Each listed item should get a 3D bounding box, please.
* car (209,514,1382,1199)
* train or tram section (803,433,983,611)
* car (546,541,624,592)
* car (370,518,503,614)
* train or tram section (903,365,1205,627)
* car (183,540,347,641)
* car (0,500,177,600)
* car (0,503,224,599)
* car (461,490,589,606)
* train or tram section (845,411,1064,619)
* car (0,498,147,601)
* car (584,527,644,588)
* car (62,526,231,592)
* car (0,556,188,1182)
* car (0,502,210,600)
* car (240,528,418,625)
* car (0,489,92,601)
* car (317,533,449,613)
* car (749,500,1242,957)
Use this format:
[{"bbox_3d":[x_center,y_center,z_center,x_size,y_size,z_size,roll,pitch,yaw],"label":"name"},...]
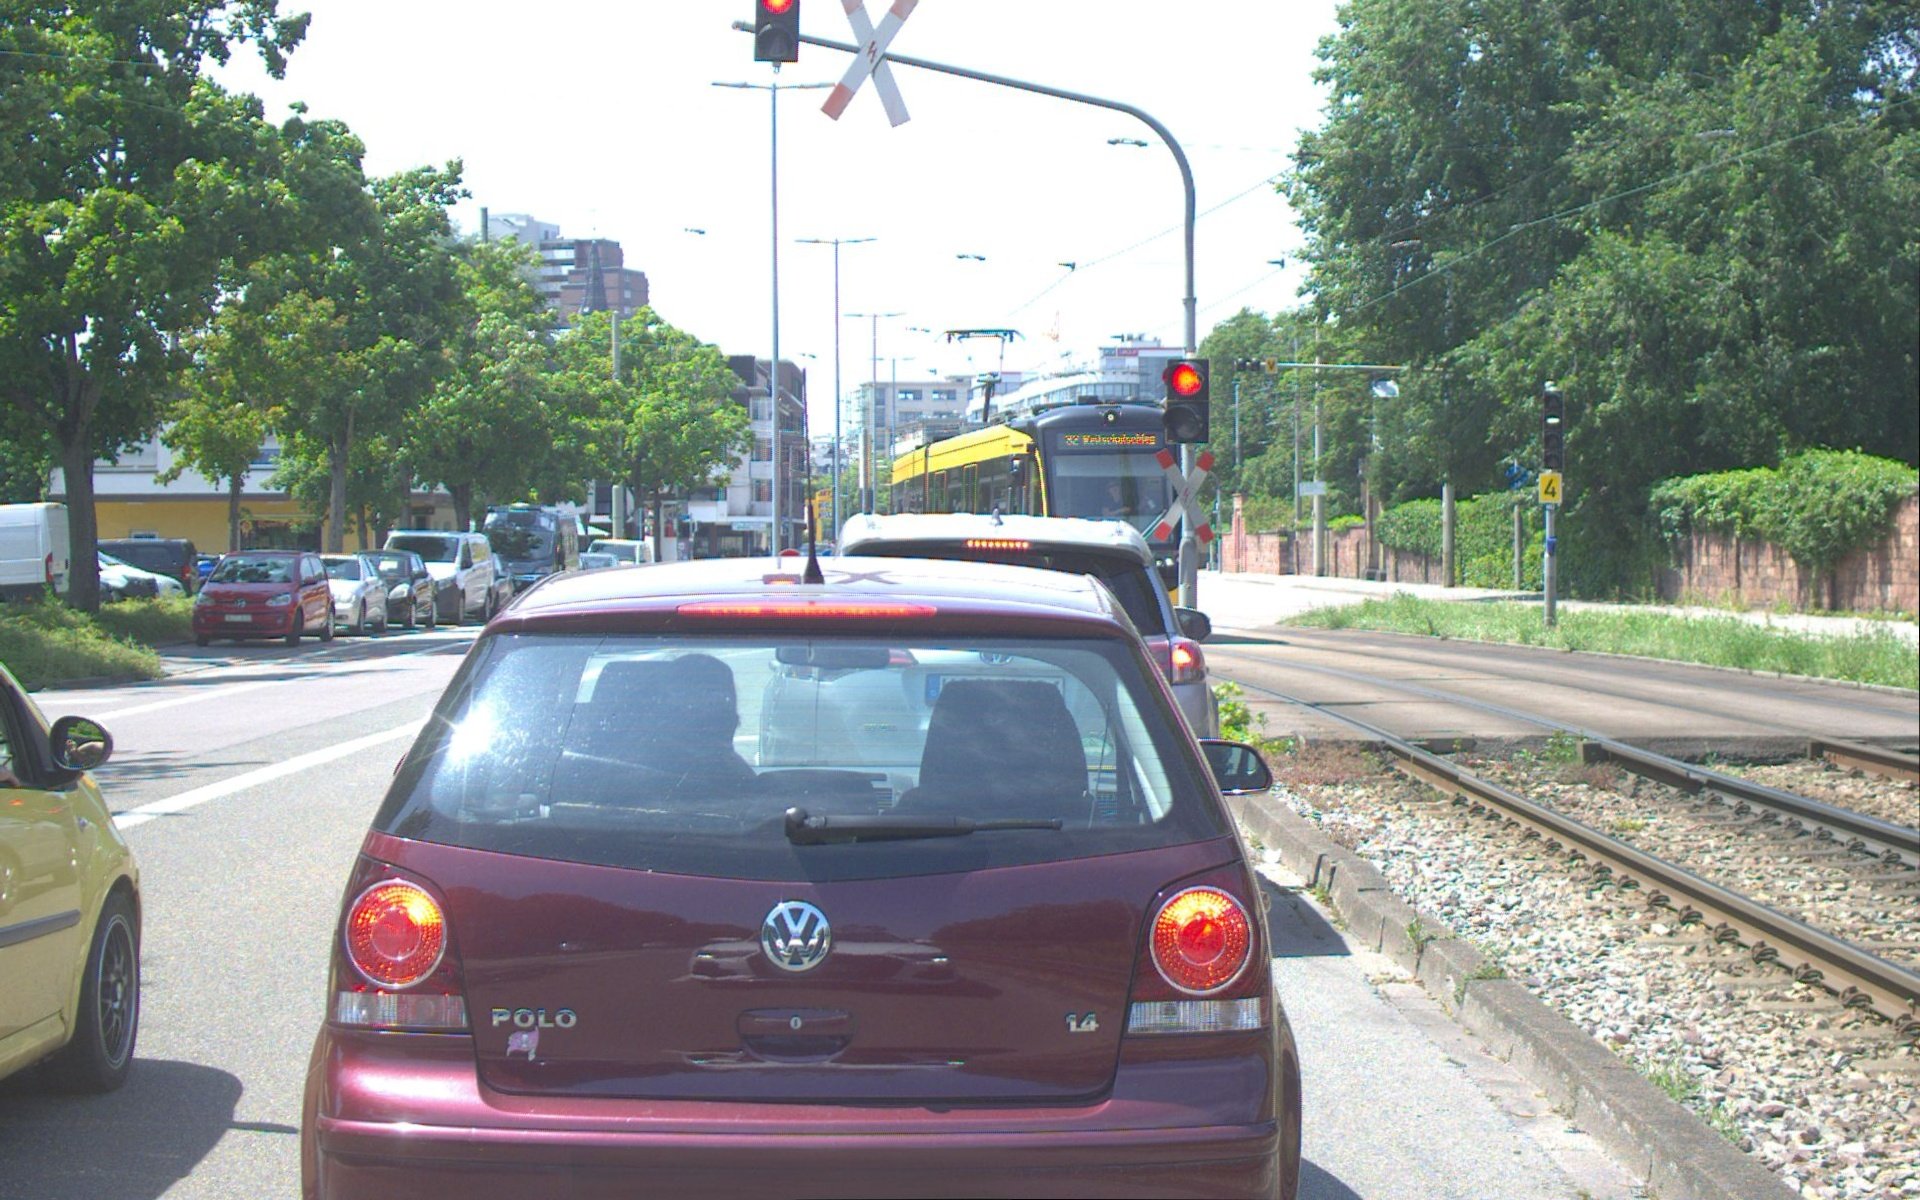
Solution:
[{"bbox_3d":[-0.288,0.611,6.977,1.672,1.516,4.000,1,1,-1],"label":"car"},{"bbox_3d":[-1.628,-1.750,76.588,2.740,3.597,10.953,2,1,-7],"label":"train or tram section"},{"bbox_3d":[-10.972,-0.968,100.713,1.614,1.436,4.000,2,0,3],"label":"car"},{"bbox_3d":[-10.797,-0.695,71.182,1.783,1.875,4.785,2,0,2],"label":"car"},{"bbox_3d":[1.227,-1.621,54.751,2.740,3.597,12.873,2,1,-7],"label":"train or tram section"},{"bbox_3d":[-10.946,-0.160,54.397,1.663,1.491,4.000,2,0,1],"label":"car"},{"bbox_3d":[-21.604,-1.208,82.256,5.097,2.237,2.378,2,0,1],"label":"car"},{"bbox_3d":[-21.527,-1.235,87.326,5.097,2.237,2.378,2,0,1],"label":"car"},{"bbox_3d":[-10.608,-1.249,84.220,2.361,2.683,5.307,2,0,0],"label":"car"},{"bbox_3d":[-0.274,-1.633,66.158,2.740,3.597,10.953,2,1,-7],"label":"train or tram section"},{"bbox_3d":[-21.559,-1.189,79.068,5.097,2.237,2.378,2,0,1],"label":"car"},{"bbox_3d":[-10.821,-1.314,107.505,1.774,1.822,4.001,2,0,-6],"label":"car"},{"bbox_3d":[-21.698,-1.092,91.733,4.020,1.611,1.816,2,0,1],"label":"car"},{"bbox_3d":[-3.037,0.607,8.113,1.690,1.406,3.516,1,1,-1],"label":"car"},{"bbox_3d":[-21.321,-1.214,84.728,5.097,2.237,2.378,2,0,1],"label":"car"},{"bbox_3d":[-11.124,-0.409,60.945,1.976,1.595,4.557,2,0,4],"label":"car"},{"bbox_3d":[-20.803,-1.180,70.955,5.097,2.237,2.378,2,0,1],"label":"car"},{"bbox_3d":[-10.994,-0.510,65.718,1.614,1.436,4.000,2,0,3],"label":"car"},{"bbox_3d":[0.083,0.431,14.639,1.777,1.641,4.000,1,1,-1],"label":"car"}]
